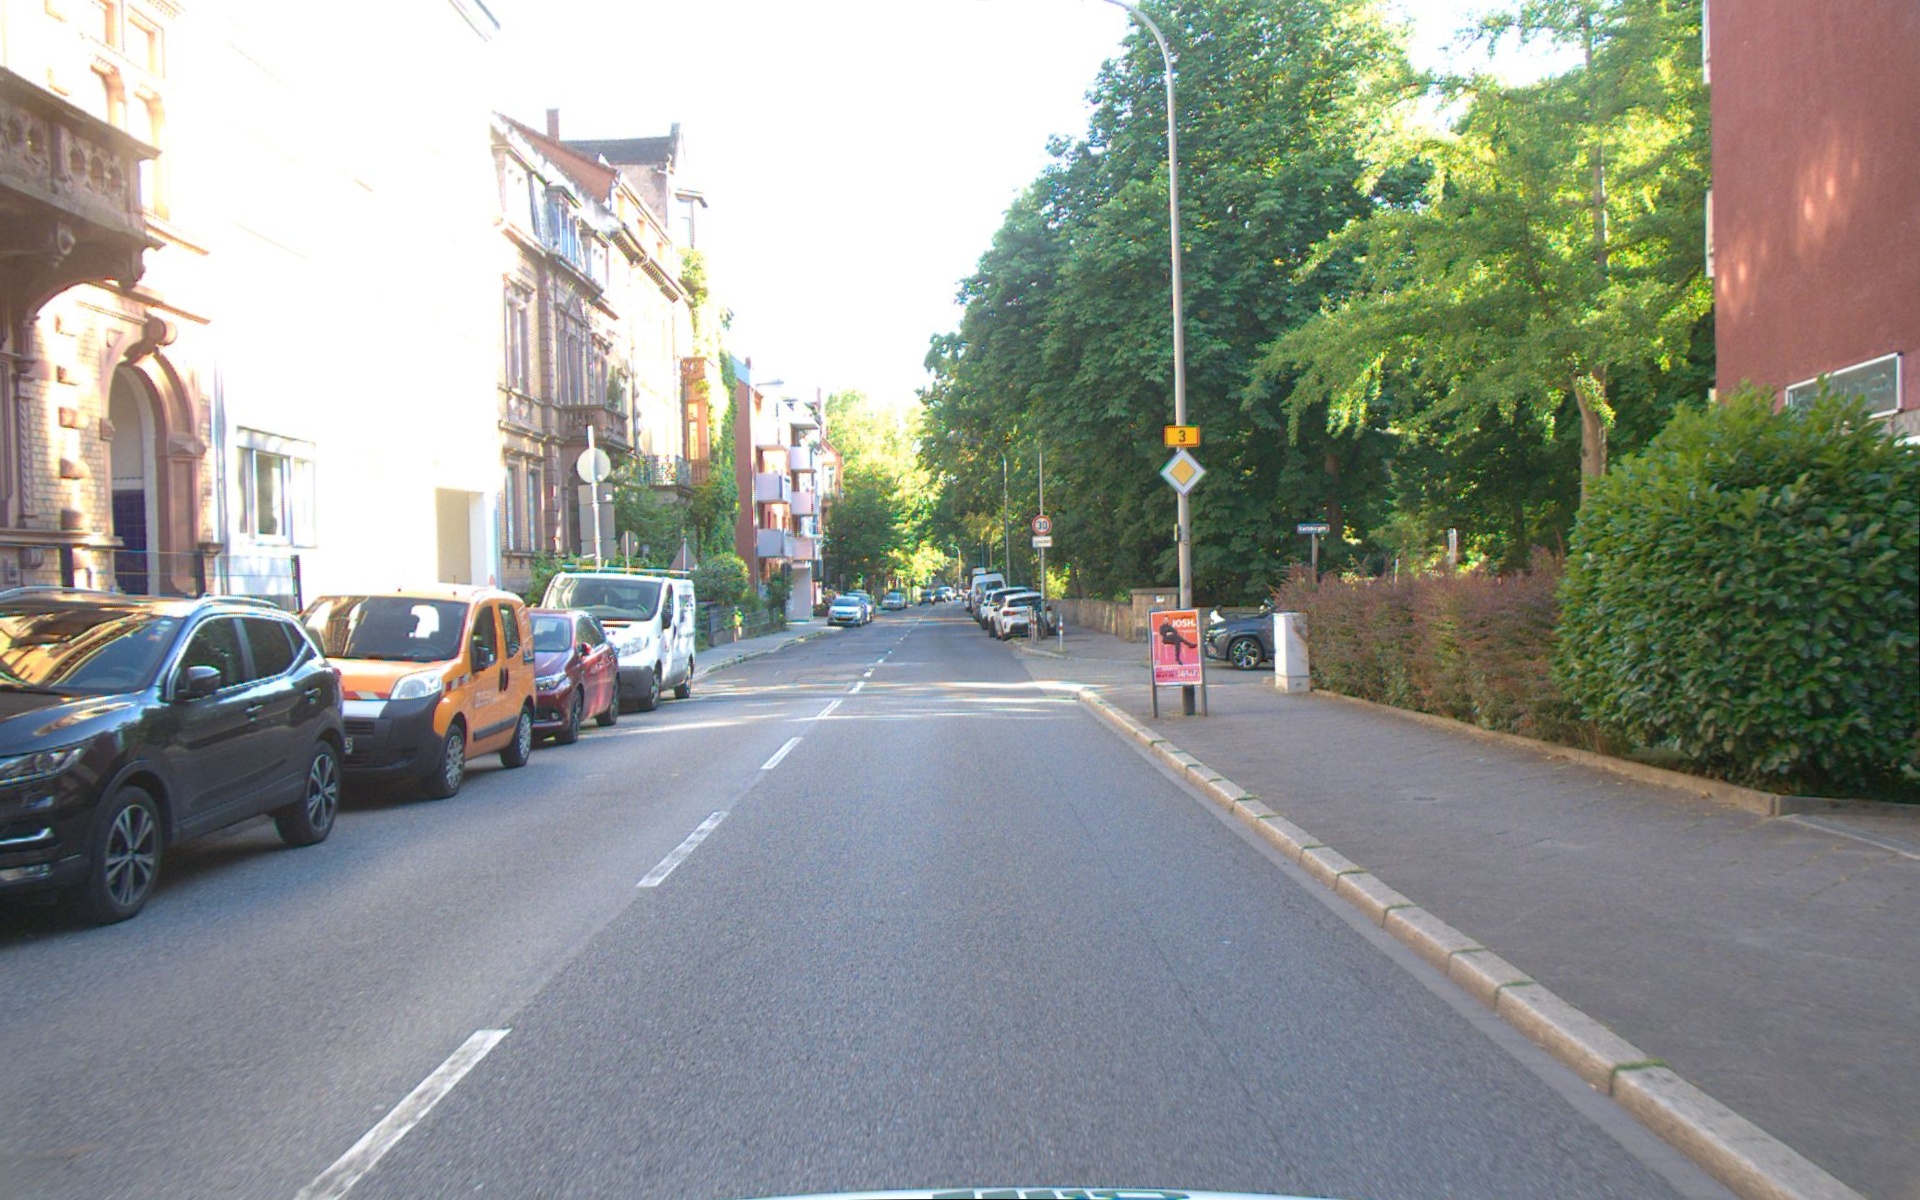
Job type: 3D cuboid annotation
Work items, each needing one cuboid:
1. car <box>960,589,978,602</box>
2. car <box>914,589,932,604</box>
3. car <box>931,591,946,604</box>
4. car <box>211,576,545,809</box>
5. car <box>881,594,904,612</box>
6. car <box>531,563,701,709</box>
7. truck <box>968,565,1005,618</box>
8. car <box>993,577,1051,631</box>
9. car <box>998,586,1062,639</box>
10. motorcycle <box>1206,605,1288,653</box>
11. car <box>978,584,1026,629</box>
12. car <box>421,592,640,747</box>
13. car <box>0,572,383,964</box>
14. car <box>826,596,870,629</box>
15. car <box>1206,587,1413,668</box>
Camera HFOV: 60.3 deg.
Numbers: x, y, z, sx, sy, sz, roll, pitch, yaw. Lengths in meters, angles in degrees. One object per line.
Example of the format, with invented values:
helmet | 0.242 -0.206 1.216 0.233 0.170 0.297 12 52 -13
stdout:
car | 1.153 -0.585 218.191 1.954 1.517 4.467 -2 1 -4
car | -4.160 -0.405 185.644 1.953 1.517 4.470 -2 1 -1
car | -2.789 -0.335 215.917 1.953 1.517 4.470 -2 1 -1
car | -4.913 0.684 14.528 1.668 1.769 3.856 0 0 -2
car | -6.226 0.252 153.390 1.953 1.517 4.470 -2 1 -1
car | -5.170 0.481 25.448 1.756 2.045 4.696 0 0 -2
truck | 1.510 -0.523 95.778 1.953 2.947 4.470 -2 1 -1
car | 2.228 0.111 60.080 1.952 1.767 4.001 -2 1 1
car | 2.265 0.384 54.488 1.952 1.544 4.001 -2 1 1
motorcycle | 6.979 0.705 40.269 1.866 1.131 0.790 0 1 2
car | 1.789 0.264 70.973 1.952 1.767 4.001 -2 1 1
car | -5.021 0.738 19.879 1.668 1.648 4.116 0 0 -2
car | -4.942 0.725 9.534 1.667 1.737 4.440 0 0 0
car | -5.815 0.610 86.314 1.953 1.517 4.470 -2 1 -1
car | 7.632 0.572 36.488 4.342 1.681 2.002 0 1 8
